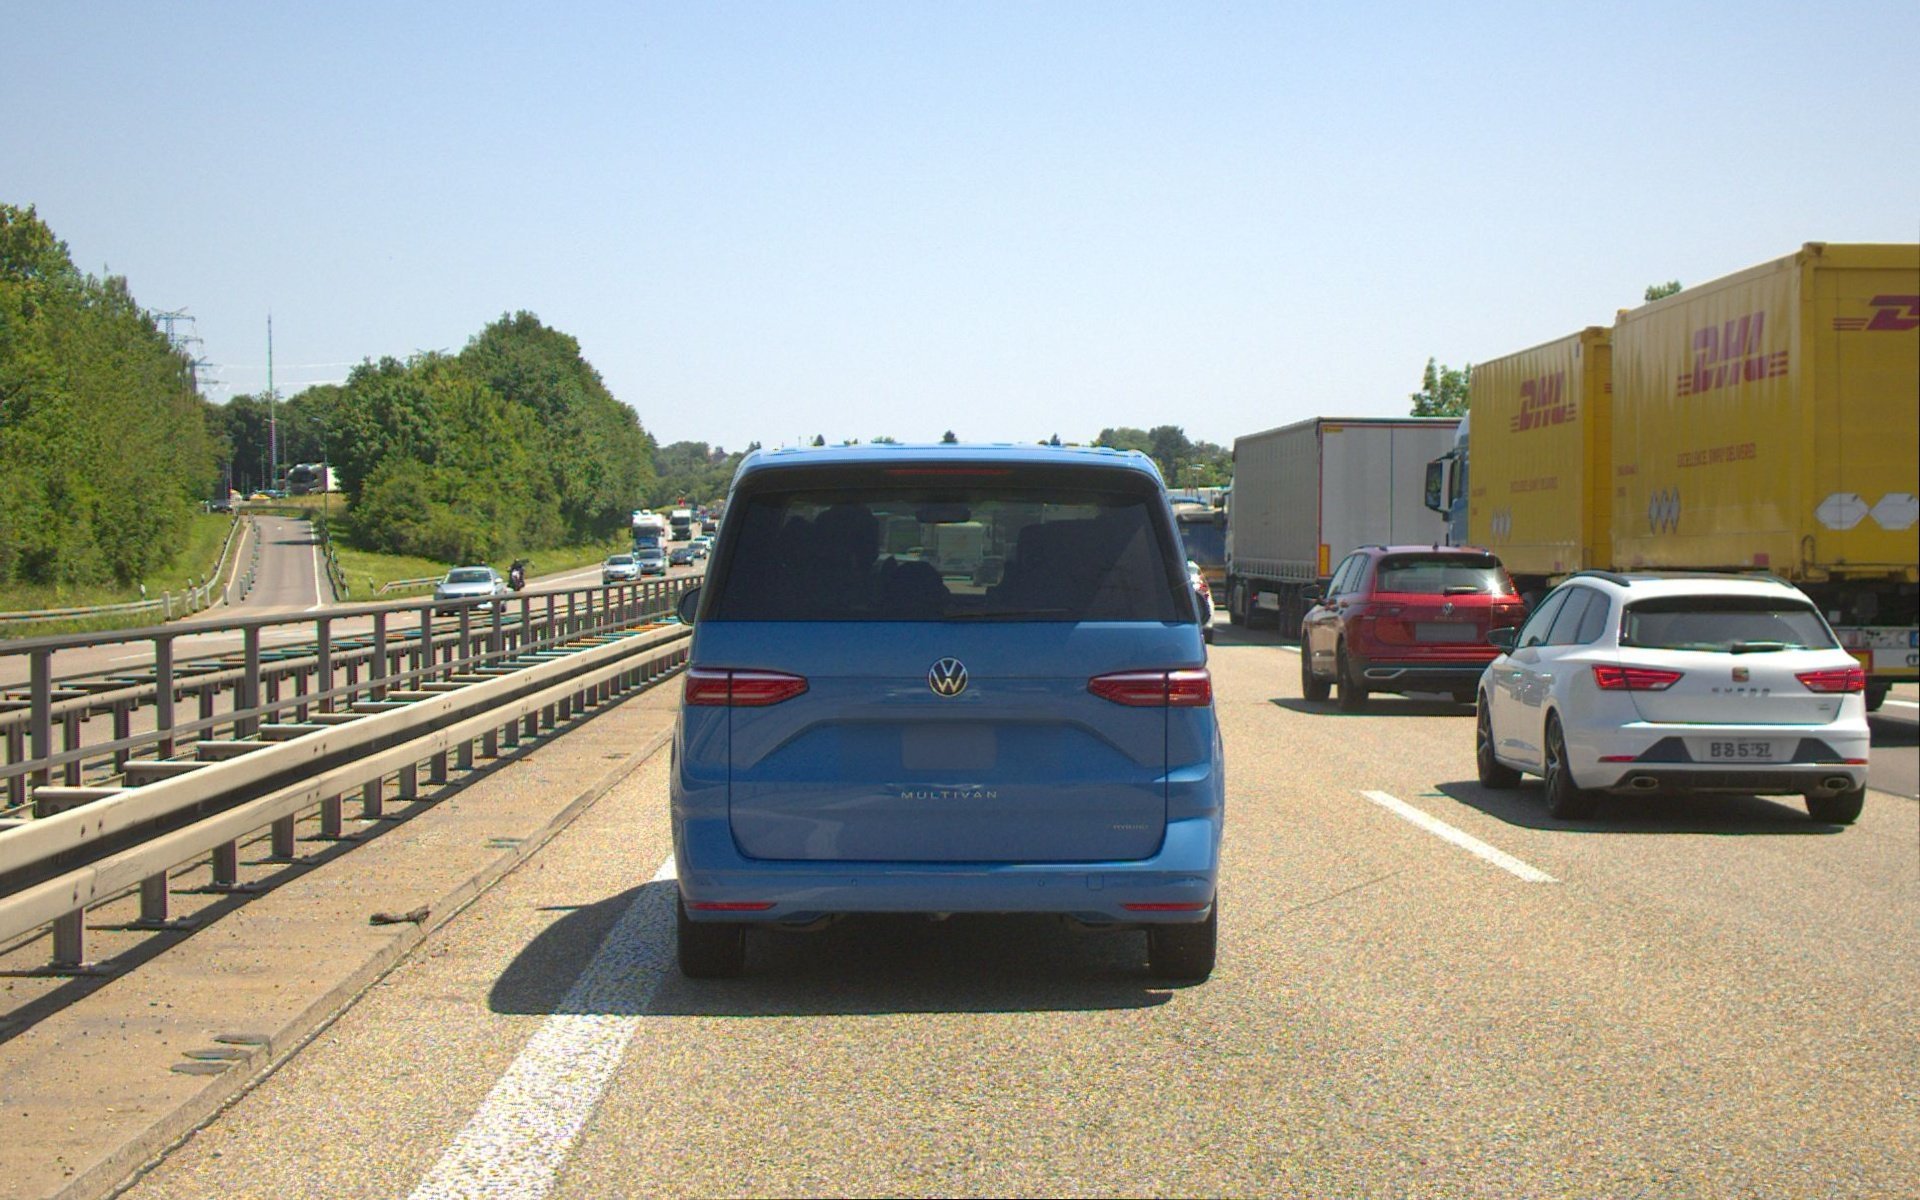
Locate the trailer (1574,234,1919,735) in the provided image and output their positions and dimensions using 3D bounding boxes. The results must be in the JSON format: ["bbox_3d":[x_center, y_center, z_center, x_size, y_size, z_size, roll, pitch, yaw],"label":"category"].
[{"bbox_3d":[8.004,-0.926,32.133,2.701,4.010,8.931,1,0,-1],"label":"trailer"}]

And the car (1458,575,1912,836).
[{"bbox_3d":[4.223,0.556,20.675,1.781,1.382,4.188,0,1,-1],"label":"car"}]

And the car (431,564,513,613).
[{"bbox_3d":[-14.707,-0.339,103.813,1.910,1.389,4.165,-2,0,-1],"label":"car"}]

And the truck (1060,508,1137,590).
[{"bbox_3d":[5.692,-2.059,142.588,2.355,3.207,9.741,1,0,-2],"label":"truck"}]

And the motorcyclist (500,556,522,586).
[{"bbox_3d":[-21.409,-1.386,164.006,0.898,1.436,1.082,-1,2,-1],"label":"motorcyclist"}]

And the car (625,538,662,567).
[{"bbox_3d":[-18.768,-2.829,204.069,1.829,1.604,4.169,-3,1,-1],"label":"car"}]

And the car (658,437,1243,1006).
[{"bbox_3d":[-0.057,0.372,13.127,1.882,1.831,4.000,0,1,-1],"label":"car"}]

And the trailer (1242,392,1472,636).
[{"bbox_3d":[7.269,-1.485,64.640,2.755,4.132,11.312,1,0,-1],"label":"trailer"}]

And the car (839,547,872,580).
[{"bbox_3d":[-6.678,-2.324,219.886,1.993,2.007,4.000,1,0,-1],"label":"car"}]

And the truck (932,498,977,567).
[{"bbox_3d":[-0.475,-5.127,262.838,2.833,5.023,12.914,-1,1,-2],"label":"truck"}]

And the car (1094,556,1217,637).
[{"bbox_3d":[3.502,-0.086,62.242,1.838,1.409,4.000,0,1,-2],"label":"car"}]

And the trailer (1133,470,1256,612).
[{"bbox_3d":[6.524,-1.590,97.077,2.379,3.731,11.189,1,0,-1],"label":"trailer"}]

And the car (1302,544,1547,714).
[{"bbox_3d":[4.572,0.252,34.355,1.851,1.603,4.000,0,1,-1],"label":"car"}]

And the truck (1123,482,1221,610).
[{"bbox_3d":[6.315,-1.584,103.234,2.367,3.709,6.034,1,0,-1],"label":"truck"}]

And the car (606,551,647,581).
[{"bbox_3d":[-17.002,-1.729,175.567,1.715,1.429,4.176,-3,1,-1],"label":"car"}]

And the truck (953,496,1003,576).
[{"bbox_3d":[1.193,-4.399,239.240,2.833,5.354,12.556,-1,1,-2],"label":"truck"}]

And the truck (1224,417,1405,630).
[{"bbox_3d":[7.144,-1.493,70.213,2.768,4.081,6.984,1,0,-1],"label":"truck"}]

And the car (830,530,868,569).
[{"bbox_3d":[-5.992,-2.721,185.967,1.993,2.007,4.000,1,0,-1],"label":"car"}]

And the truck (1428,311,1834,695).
[{"bbox_3d":[7.855,-1.042,41.792,2.722,4.041,10.336,1,0,-1],"label":"truck"}]

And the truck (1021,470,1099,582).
[{"bbox_3d":[4.643,-3.388,162.478,2.833,5.023,11.147,1,0,-2],"label":"truck"}]

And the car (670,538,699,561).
[{"bbox_3d":[-20.286,-3.707,252.864,1.829,1.604,4.169,-2,1,-1],"label":"car"}]
